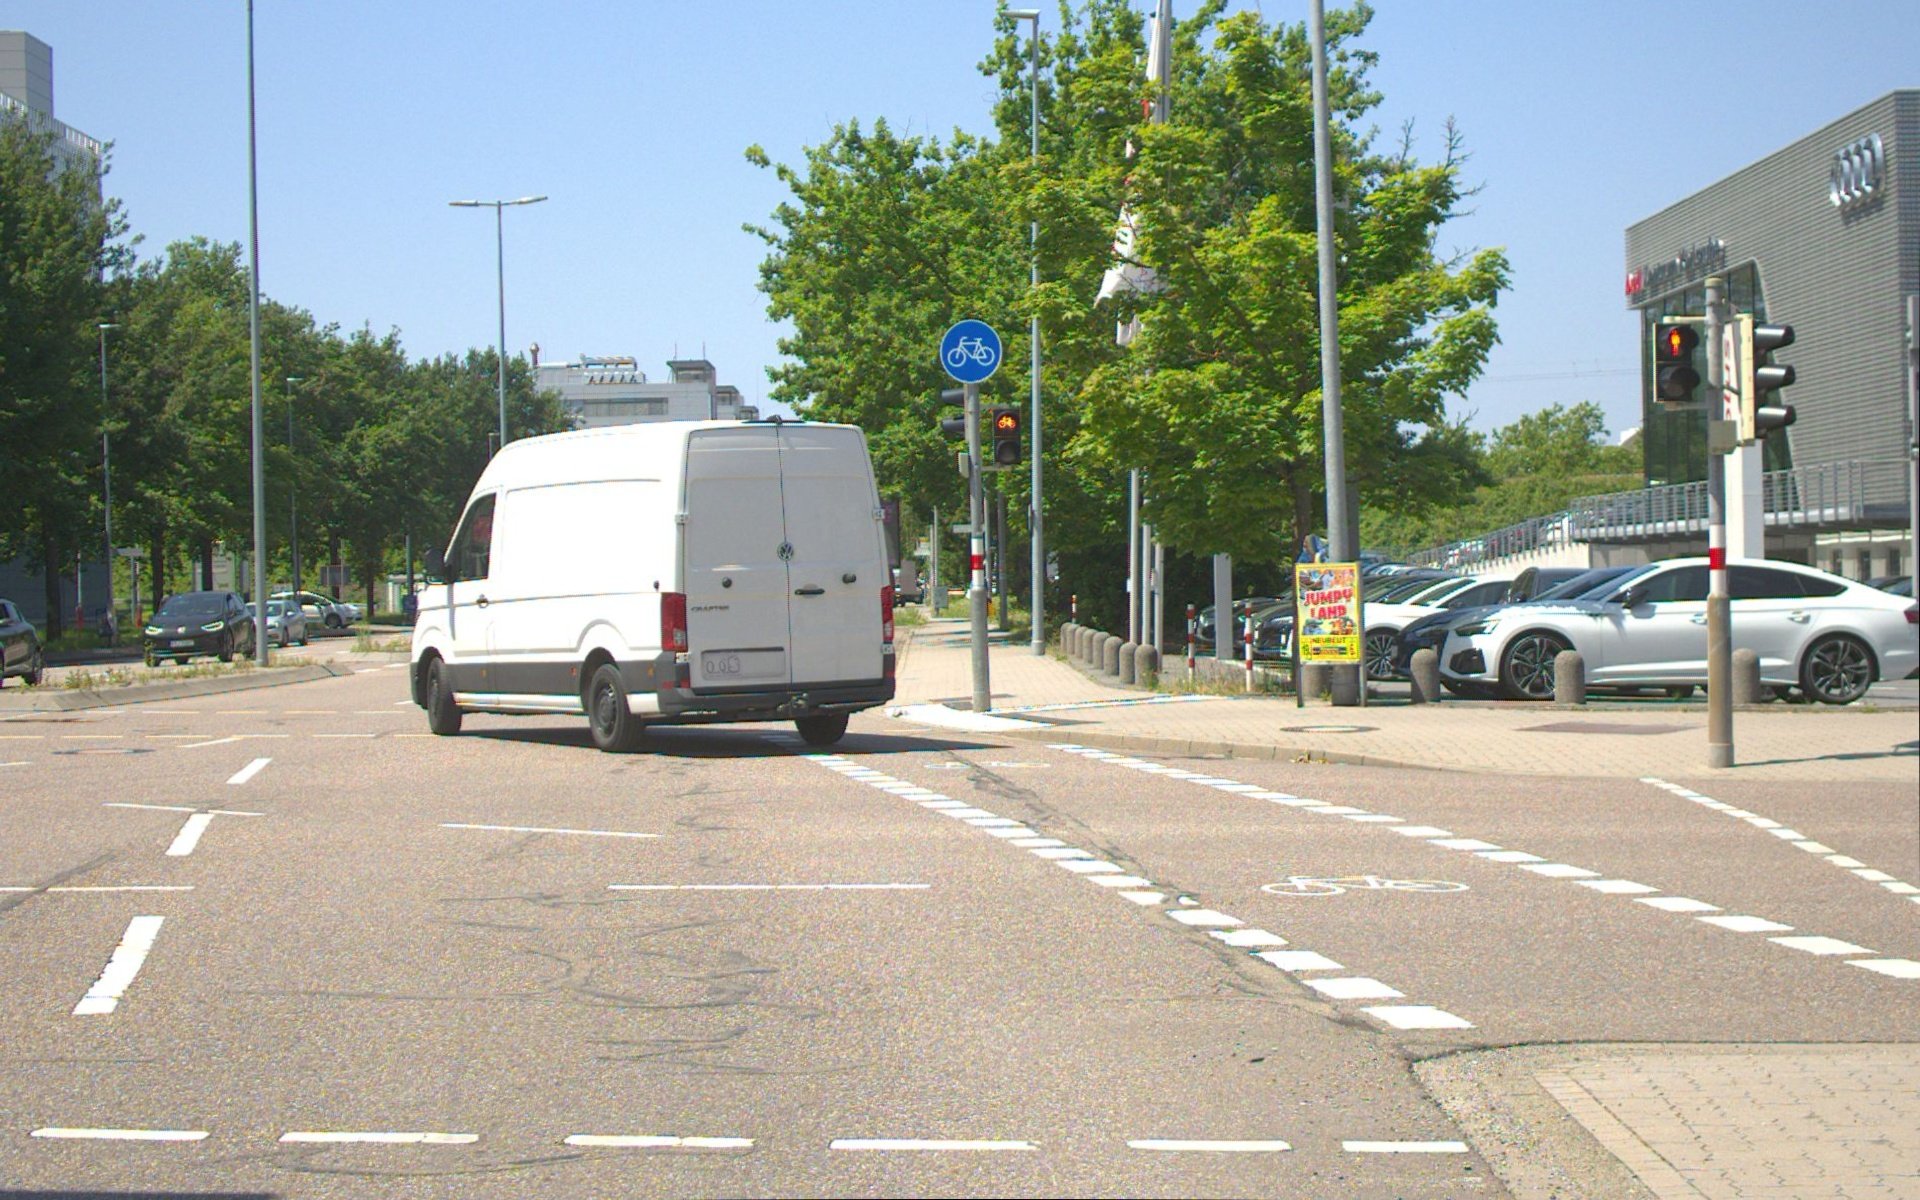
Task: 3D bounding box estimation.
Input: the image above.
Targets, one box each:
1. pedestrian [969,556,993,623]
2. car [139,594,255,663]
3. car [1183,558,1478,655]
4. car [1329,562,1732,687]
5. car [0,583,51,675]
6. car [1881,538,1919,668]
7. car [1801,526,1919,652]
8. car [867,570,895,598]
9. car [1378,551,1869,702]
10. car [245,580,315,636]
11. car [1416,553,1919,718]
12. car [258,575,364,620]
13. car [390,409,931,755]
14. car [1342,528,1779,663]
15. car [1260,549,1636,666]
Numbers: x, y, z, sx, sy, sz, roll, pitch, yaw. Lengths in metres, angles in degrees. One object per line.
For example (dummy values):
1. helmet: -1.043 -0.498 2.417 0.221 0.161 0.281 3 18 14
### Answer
1. pedestrian: 0.614 -0.316 101.952 0.662 1.957 0.759 -1 0 -1
2. car: -16.307 0.595 73.632 1.684 1.406 3.665 -1 0 -1
3. car: 6.307 0.102 58.823 4.741 1.452 2.000 -2 1 -2
4. car: 7.210 0.293 43.773 4.741 1.452 2.000 -1 1 -2
5. car: -15.787 0.476 54.562 1.732 1.422 3.706 -2 0 -1
6. car: 16.844 -0.006 54.377 3.987 2.007 2.000 -1 1 1
7. car: 16.142 -0.214 56.791 3.987 2.007 2.000 -1 1 1
8. car: -5.159 -1.035 224.521 1.772 1.722 4.000 -1 0 -1
9. car: 6.840 0.276 35.853 4.741 1.452 2.000 -1 0 2
10. car: -21.056 0.244 106.552 1.648 1.647 4.164 -1 1 -5
11. car: 6.902 0.323 33.253 4.741 1.452 2.000 -1 1 2
12. car: -28.096 -0.121 148.966 4.018 1.804 1.999 1 1 14
13. car: -2.602 -0.149 28.108 2.095 2.525 5.801 0 0 -31
14. car: 6.908 -0.070 39.933 4.741 1.452 2.000 -1 1 2
15. car: 6.559 0.079 46.553 4.741 1.452 2.000 -1 1 -2
